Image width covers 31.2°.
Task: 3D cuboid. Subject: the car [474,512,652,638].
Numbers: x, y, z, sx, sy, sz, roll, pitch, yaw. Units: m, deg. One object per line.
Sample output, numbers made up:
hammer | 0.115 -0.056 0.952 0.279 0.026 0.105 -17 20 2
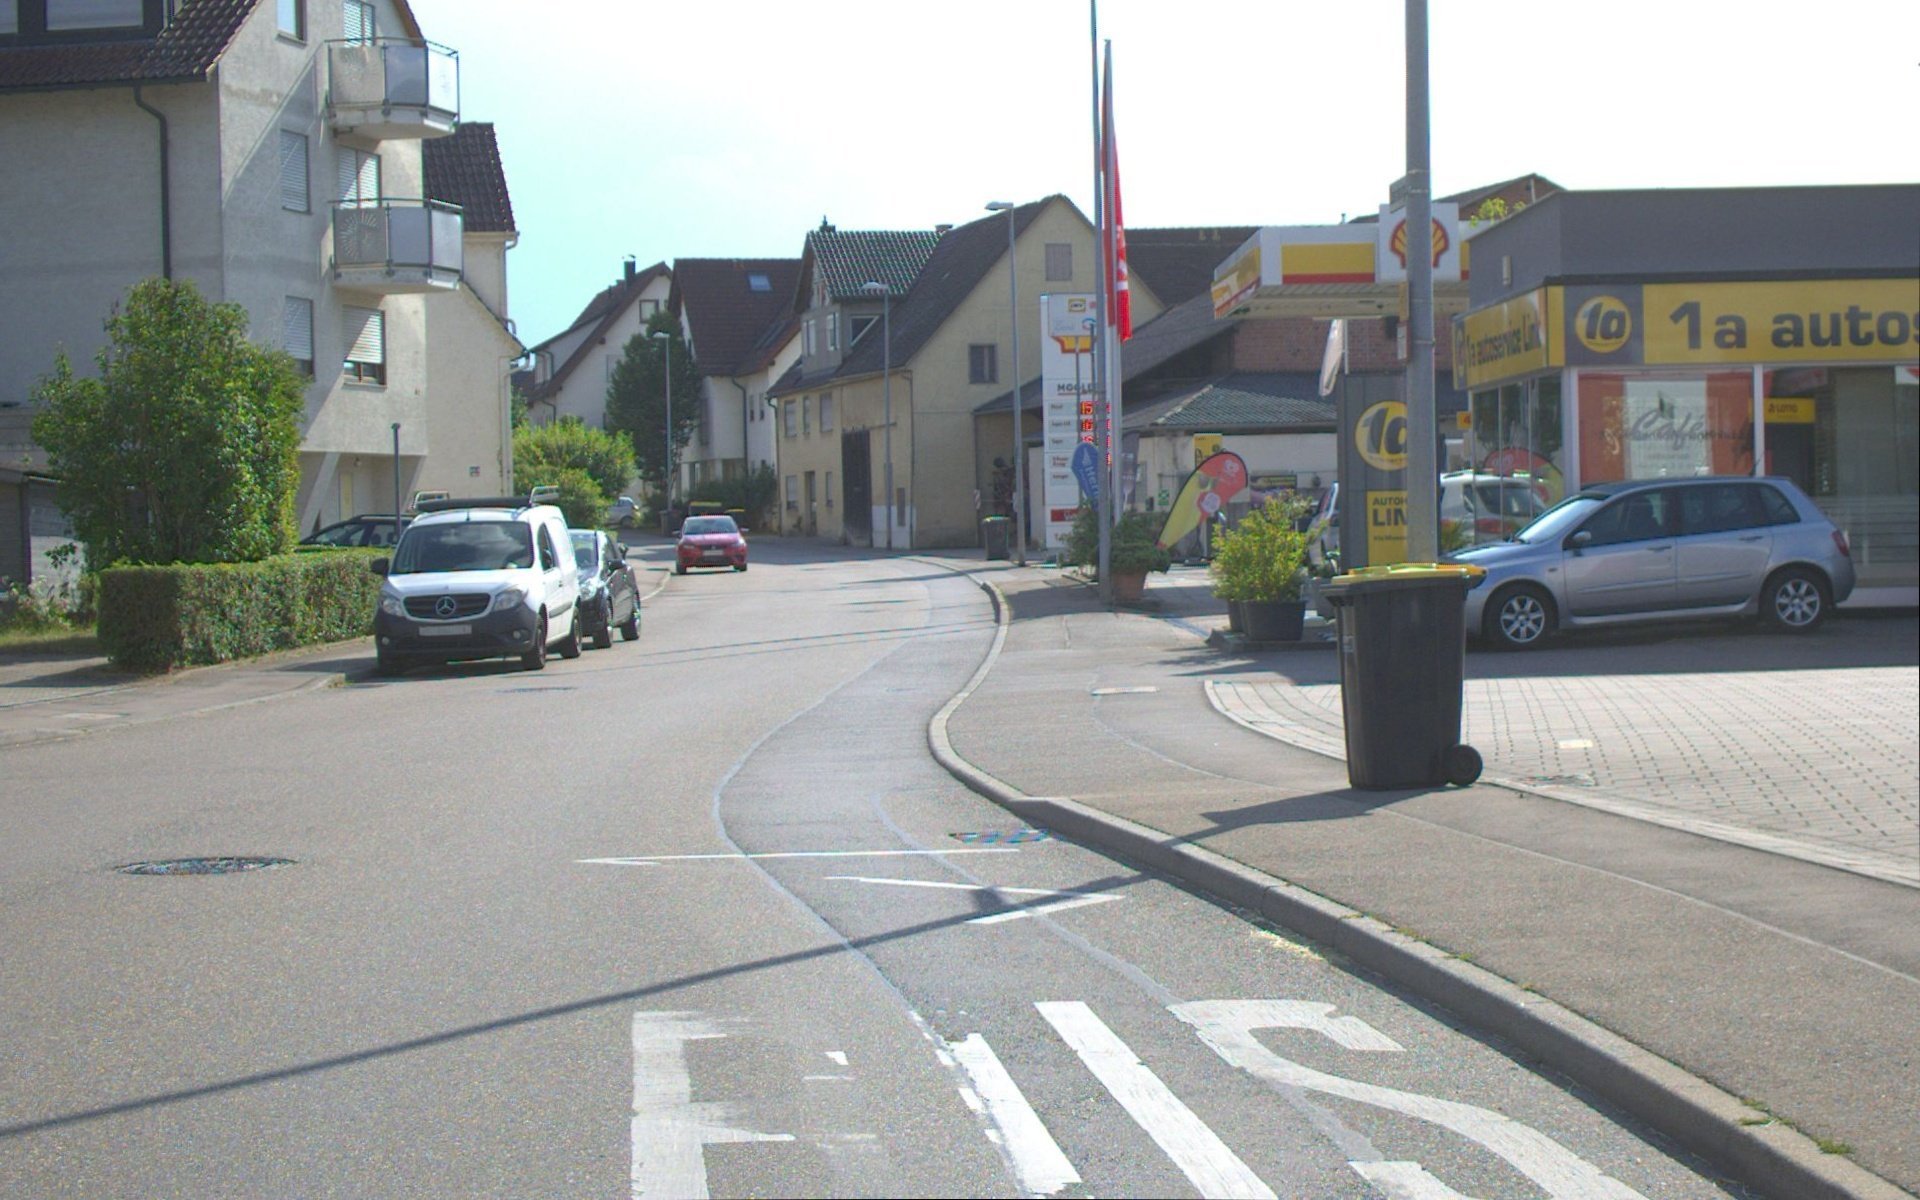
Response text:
car | -4.967 -0.350 43.440 1.673 1.446 3.834 -2 2 2

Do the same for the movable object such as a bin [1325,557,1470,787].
movable object such as a bin | 2.124 0.339 16.735 0.567 1.071 0.573 -2 1 -3

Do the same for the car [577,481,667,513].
car | -15.516 -4.723 157.687 3.986 1.347 1.711 -2 2 -8

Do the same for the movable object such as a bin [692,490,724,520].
movable object such as a bin | -10.046 -3.796 136.980 1.160 1.164 0.655 -2 2 -11

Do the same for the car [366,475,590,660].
car | -5.275 -0.397 38.093 1.716 1.866 4.192 -2 2 2

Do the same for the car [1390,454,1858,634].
car | 6.174 -0.536 32.161 3.986 1.526 1.528 -2 1 -6

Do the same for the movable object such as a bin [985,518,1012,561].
movable object such as a bin | 0.983 -1.552 88.018 0.653 1.069 0.513 -1 2 -3

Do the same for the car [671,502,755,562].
car | -6.349 -1.745 88.169 1.708 1.430 3.781 -3 1 -10

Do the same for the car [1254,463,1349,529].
car | 7.627 -2.336 77.001 1.578 1.422 4.382 -1 2 -1

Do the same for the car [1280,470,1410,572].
car | 6.335 -1.329 56.865 1.672 1.572 3.999 -2 2 0

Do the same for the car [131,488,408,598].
car | -11.233 -0.946 56.003 3.989 1.533 1.762 3 3 12
